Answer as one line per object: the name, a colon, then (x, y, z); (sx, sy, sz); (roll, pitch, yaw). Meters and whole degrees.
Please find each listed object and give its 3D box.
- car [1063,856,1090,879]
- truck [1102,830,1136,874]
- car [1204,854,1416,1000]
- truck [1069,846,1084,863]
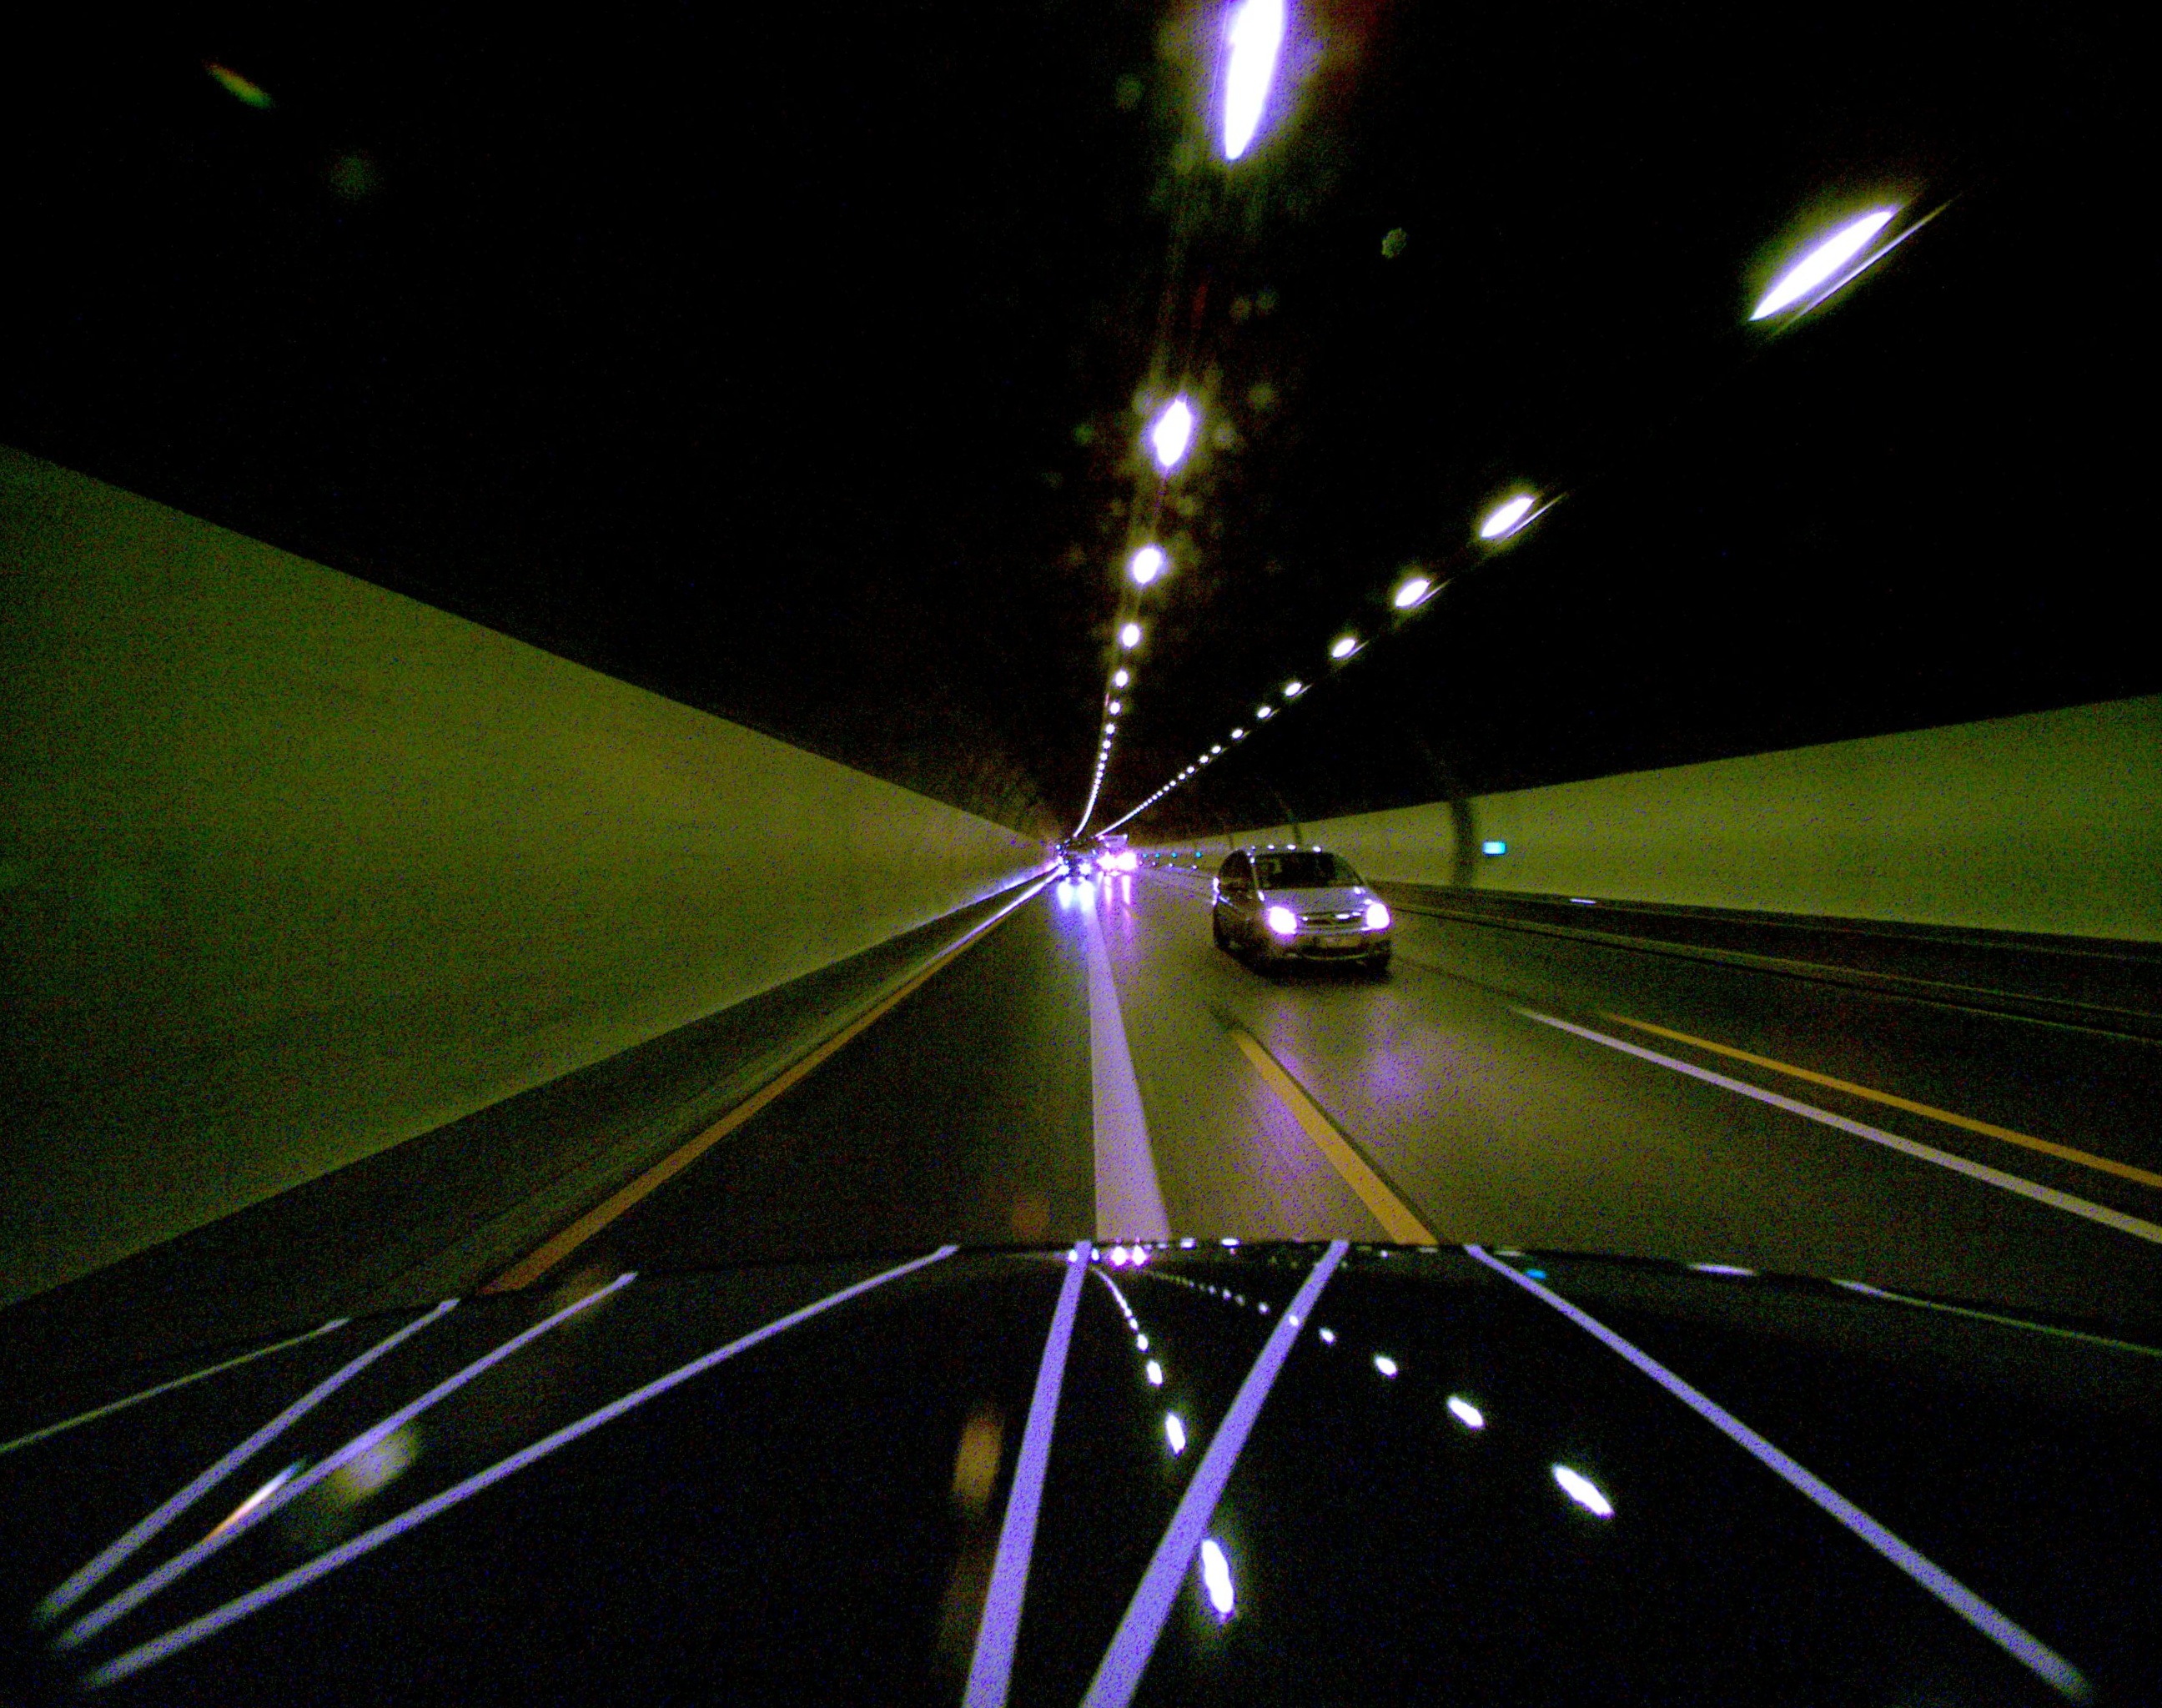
car: (-0.301, 0.916, 52.611); (1.728, 1.474, 4.000); (-1, 0, 0)
truck: (3.028, -0.170, 61.689); (2.374, 3.328, 4.719); (-3, 0, 1)
car: (2.887, 0.816, 10.525); (1.766, 1.563, 4.097); (-2, 0, 2)
truck: (-0.788, 0.205, 130.494); (2.151, 2.608, 9.906); (-1, -2, -3)
